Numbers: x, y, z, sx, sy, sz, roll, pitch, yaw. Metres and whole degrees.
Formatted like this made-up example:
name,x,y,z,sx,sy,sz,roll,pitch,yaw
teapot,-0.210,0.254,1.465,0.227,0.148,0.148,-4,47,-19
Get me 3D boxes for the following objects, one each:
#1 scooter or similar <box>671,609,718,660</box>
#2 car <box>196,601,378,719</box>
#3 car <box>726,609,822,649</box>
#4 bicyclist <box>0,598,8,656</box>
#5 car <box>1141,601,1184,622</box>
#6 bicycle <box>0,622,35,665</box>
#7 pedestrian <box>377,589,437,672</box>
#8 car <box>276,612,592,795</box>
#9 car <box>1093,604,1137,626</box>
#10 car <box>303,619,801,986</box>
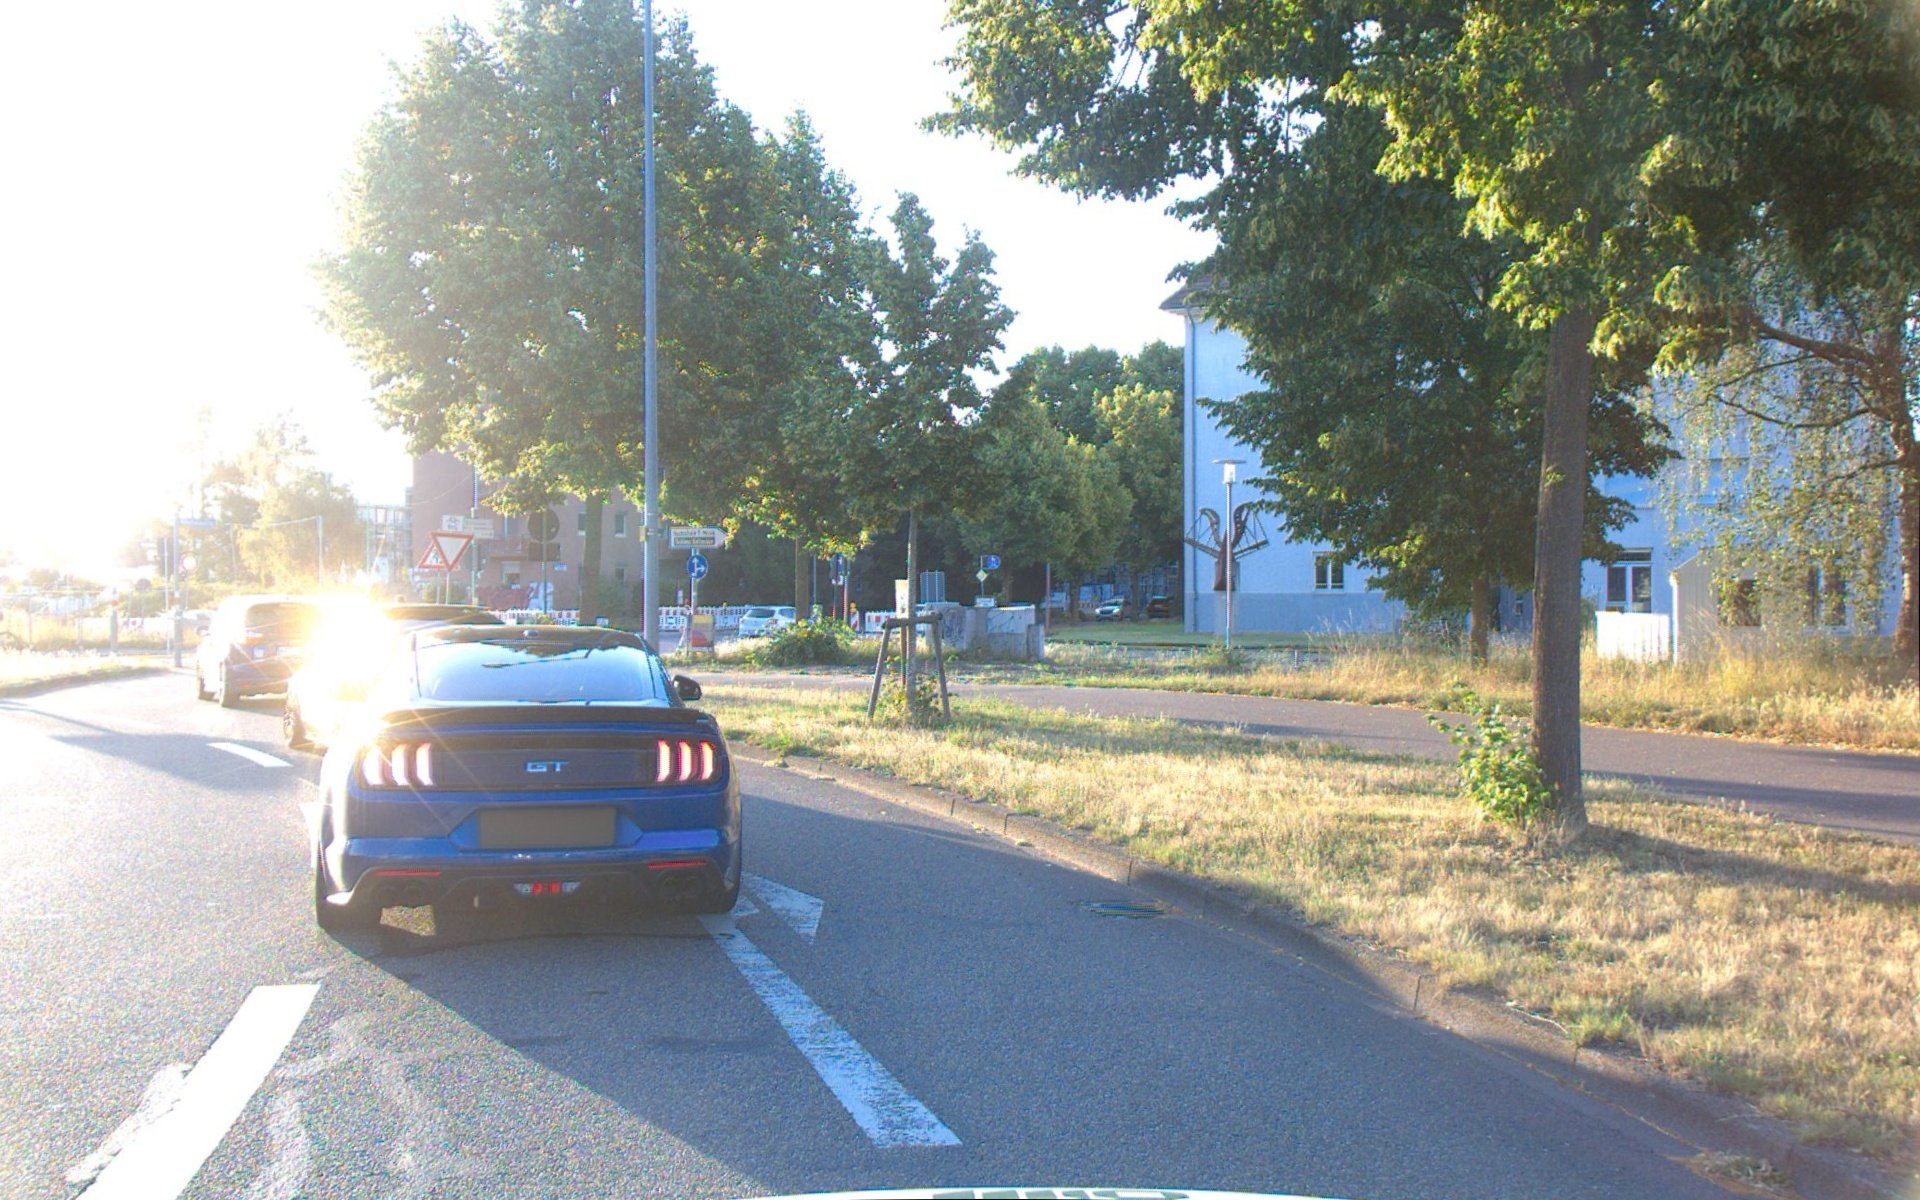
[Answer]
name,x,y,z,sx,sy,sz,roll,pitch,yaw
scooter or similar,-6.701,0.860,41.754,1.107,1.260,0.438,0,0,-29
car,-10.369,0.859,25.314,1.932,1.630,4.033,2,-1,-32
car,-7.003,1.080,62.619,1.838,1.426,3.913,0,0,25
bicyclist,-27.455,0.763,46.559,0.740,1.641,0.973,0,0,40
car,13.744,0.768,112.026,1.838,1.426,3.914,0,0,24
bicycle,-27.475,1.223,46.568,0.740,1.187,2.397,0,0,39
pedestrian,-11.711,0.634,35.048,0.866,1.716,0.846,0,0,23
car,-5.130,0.869,15.728,1.931,1.452,4.384,2,-1,-30
car,10.525,1.018,112.264,1.838,1.426,3.914,0,0,24
car,-2.377,0.840,8.876,1.922,1.365,4.643,2,-1,-20
